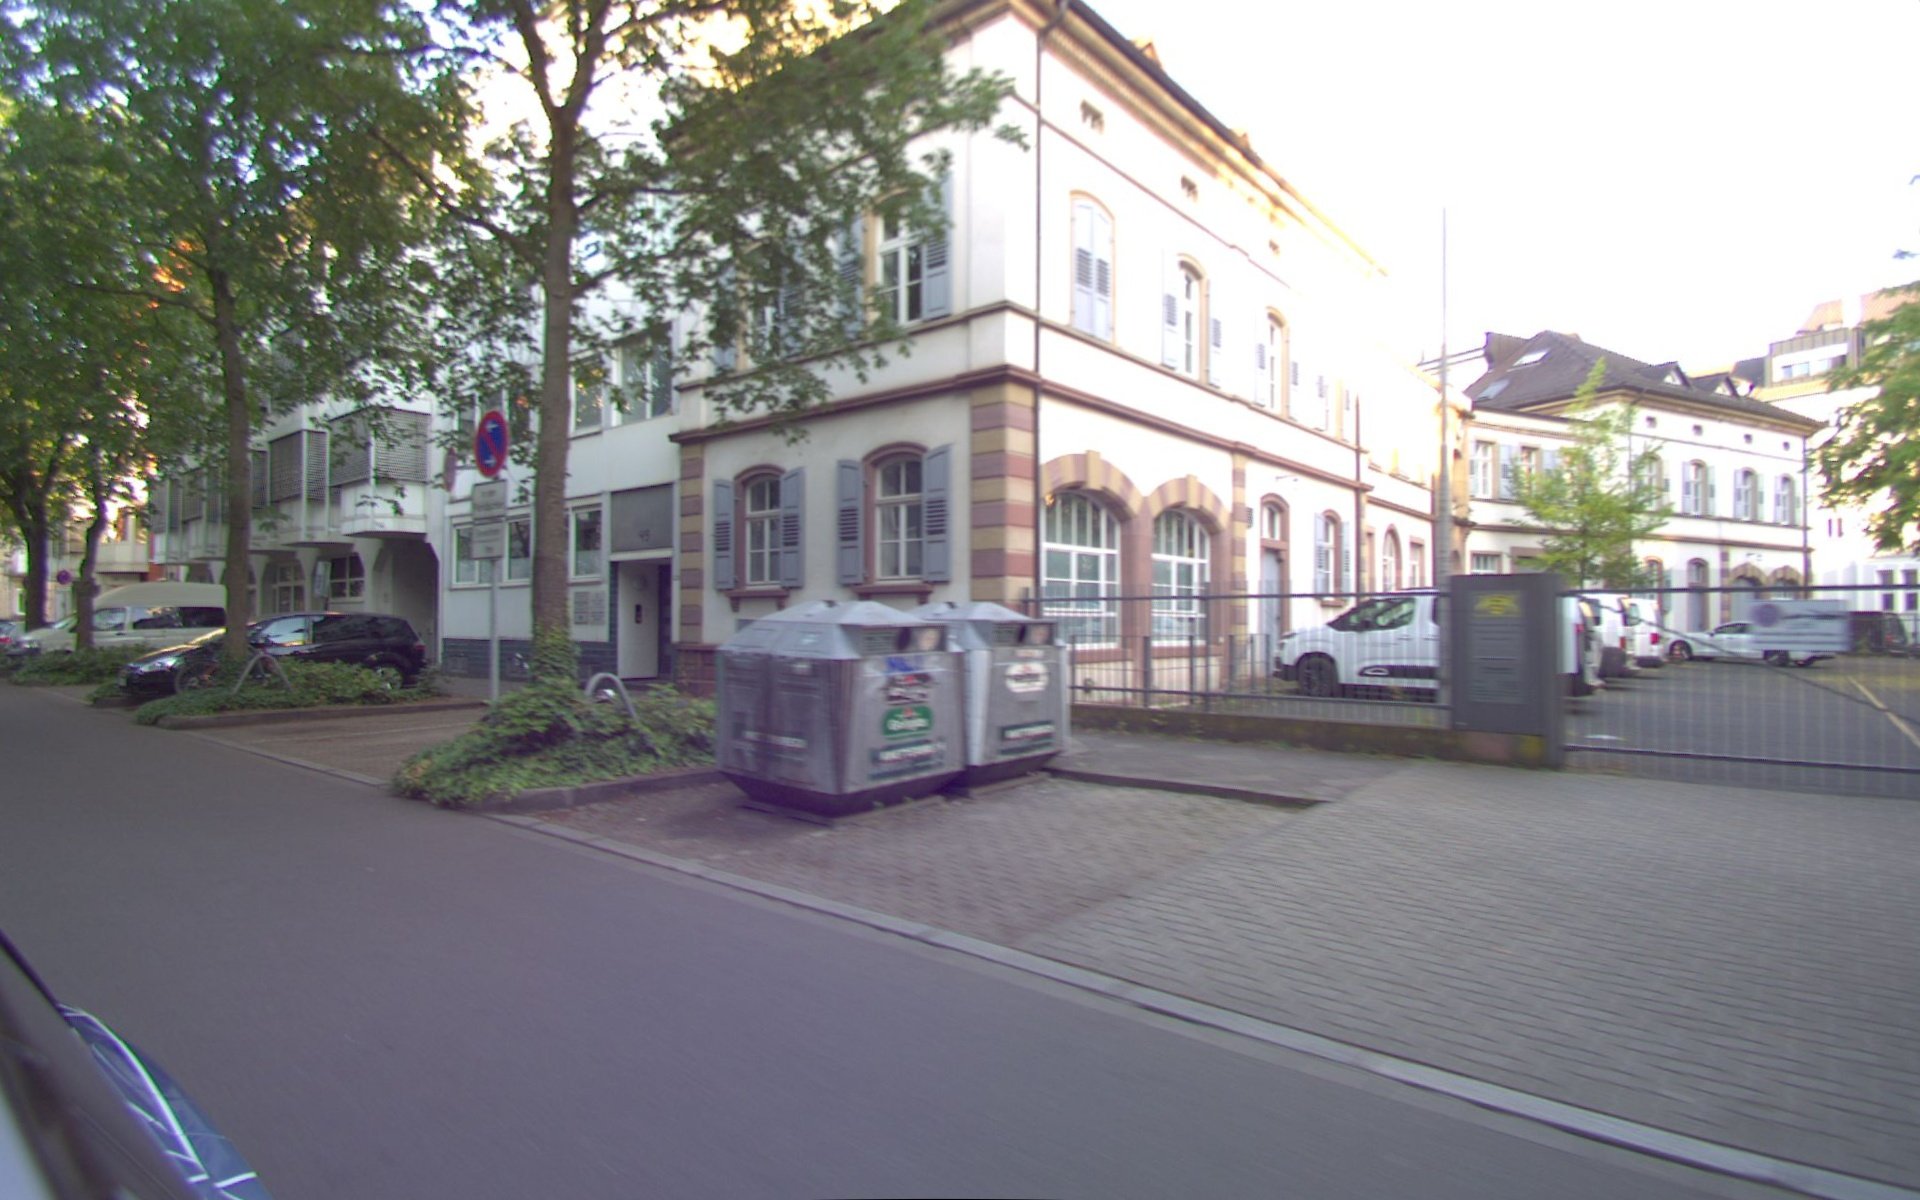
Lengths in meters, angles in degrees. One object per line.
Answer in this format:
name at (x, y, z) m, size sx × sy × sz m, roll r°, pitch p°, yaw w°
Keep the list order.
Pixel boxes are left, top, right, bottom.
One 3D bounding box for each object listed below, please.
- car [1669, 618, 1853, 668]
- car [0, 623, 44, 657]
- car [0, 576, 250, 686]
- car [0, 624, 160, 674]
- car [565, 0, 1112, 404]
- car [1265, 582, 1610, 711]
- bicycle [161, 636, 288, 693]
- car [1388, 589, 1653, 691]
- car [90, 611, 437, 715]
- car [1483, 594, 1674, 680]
car at (26.317, 1.377, 33.436) m, size 1.965 × 1.517 × 4.307 m, roll 0°, pitch -1°, yaw -25°
car at (-44.068, 1.787, 45.209) m, size 1.870 × 1.537 × 4.463 m, roll -1°, pitch -2°, yaw 40°
car at (-21.834, 0.791, 26.469) m, size 2.119 × 2.592 × 4.952 m, roll -2°, pitch -2°, yaw 40°
car at (-28.026, 1.497, 31.873) m, size 1.952 × 1.480 × 4.125 m, roll -1°, pitch -2°, yaw 41°
car at (-0.719, -3.045, 8.505) m, size 1.998 × 1.785 × 4.461 m, roll -1°, pitch -2°, yaw 38°
car at (7.490, 0.687, 16.116) m, size 4.671 × 1.771 × 1.978 m, roll -1°, pitch -2°, yaw 37°
bicycle at (-11.616, 1.006, 16.024) m, size 0.613 × 0.837 × 1.535 m, roll -1°, pitch -2°, yaw 43°
car at (11.871, 0.816, 21.579) m, size 4.681 × 1.940 × 2.126 m, roll -1°, pitch -2°, yaw 37°
car at (-12.441, 1.033, 18.351) m, size 2.159 × 1.634 × 4.802 m, roll -1°, pitch -2°, yaw 41°
car at (15.845, 0.918, 26.001) m, size 3.994 × 2.029 × 1.975 m, roll -1°, pitch -2°, yaw 38°
